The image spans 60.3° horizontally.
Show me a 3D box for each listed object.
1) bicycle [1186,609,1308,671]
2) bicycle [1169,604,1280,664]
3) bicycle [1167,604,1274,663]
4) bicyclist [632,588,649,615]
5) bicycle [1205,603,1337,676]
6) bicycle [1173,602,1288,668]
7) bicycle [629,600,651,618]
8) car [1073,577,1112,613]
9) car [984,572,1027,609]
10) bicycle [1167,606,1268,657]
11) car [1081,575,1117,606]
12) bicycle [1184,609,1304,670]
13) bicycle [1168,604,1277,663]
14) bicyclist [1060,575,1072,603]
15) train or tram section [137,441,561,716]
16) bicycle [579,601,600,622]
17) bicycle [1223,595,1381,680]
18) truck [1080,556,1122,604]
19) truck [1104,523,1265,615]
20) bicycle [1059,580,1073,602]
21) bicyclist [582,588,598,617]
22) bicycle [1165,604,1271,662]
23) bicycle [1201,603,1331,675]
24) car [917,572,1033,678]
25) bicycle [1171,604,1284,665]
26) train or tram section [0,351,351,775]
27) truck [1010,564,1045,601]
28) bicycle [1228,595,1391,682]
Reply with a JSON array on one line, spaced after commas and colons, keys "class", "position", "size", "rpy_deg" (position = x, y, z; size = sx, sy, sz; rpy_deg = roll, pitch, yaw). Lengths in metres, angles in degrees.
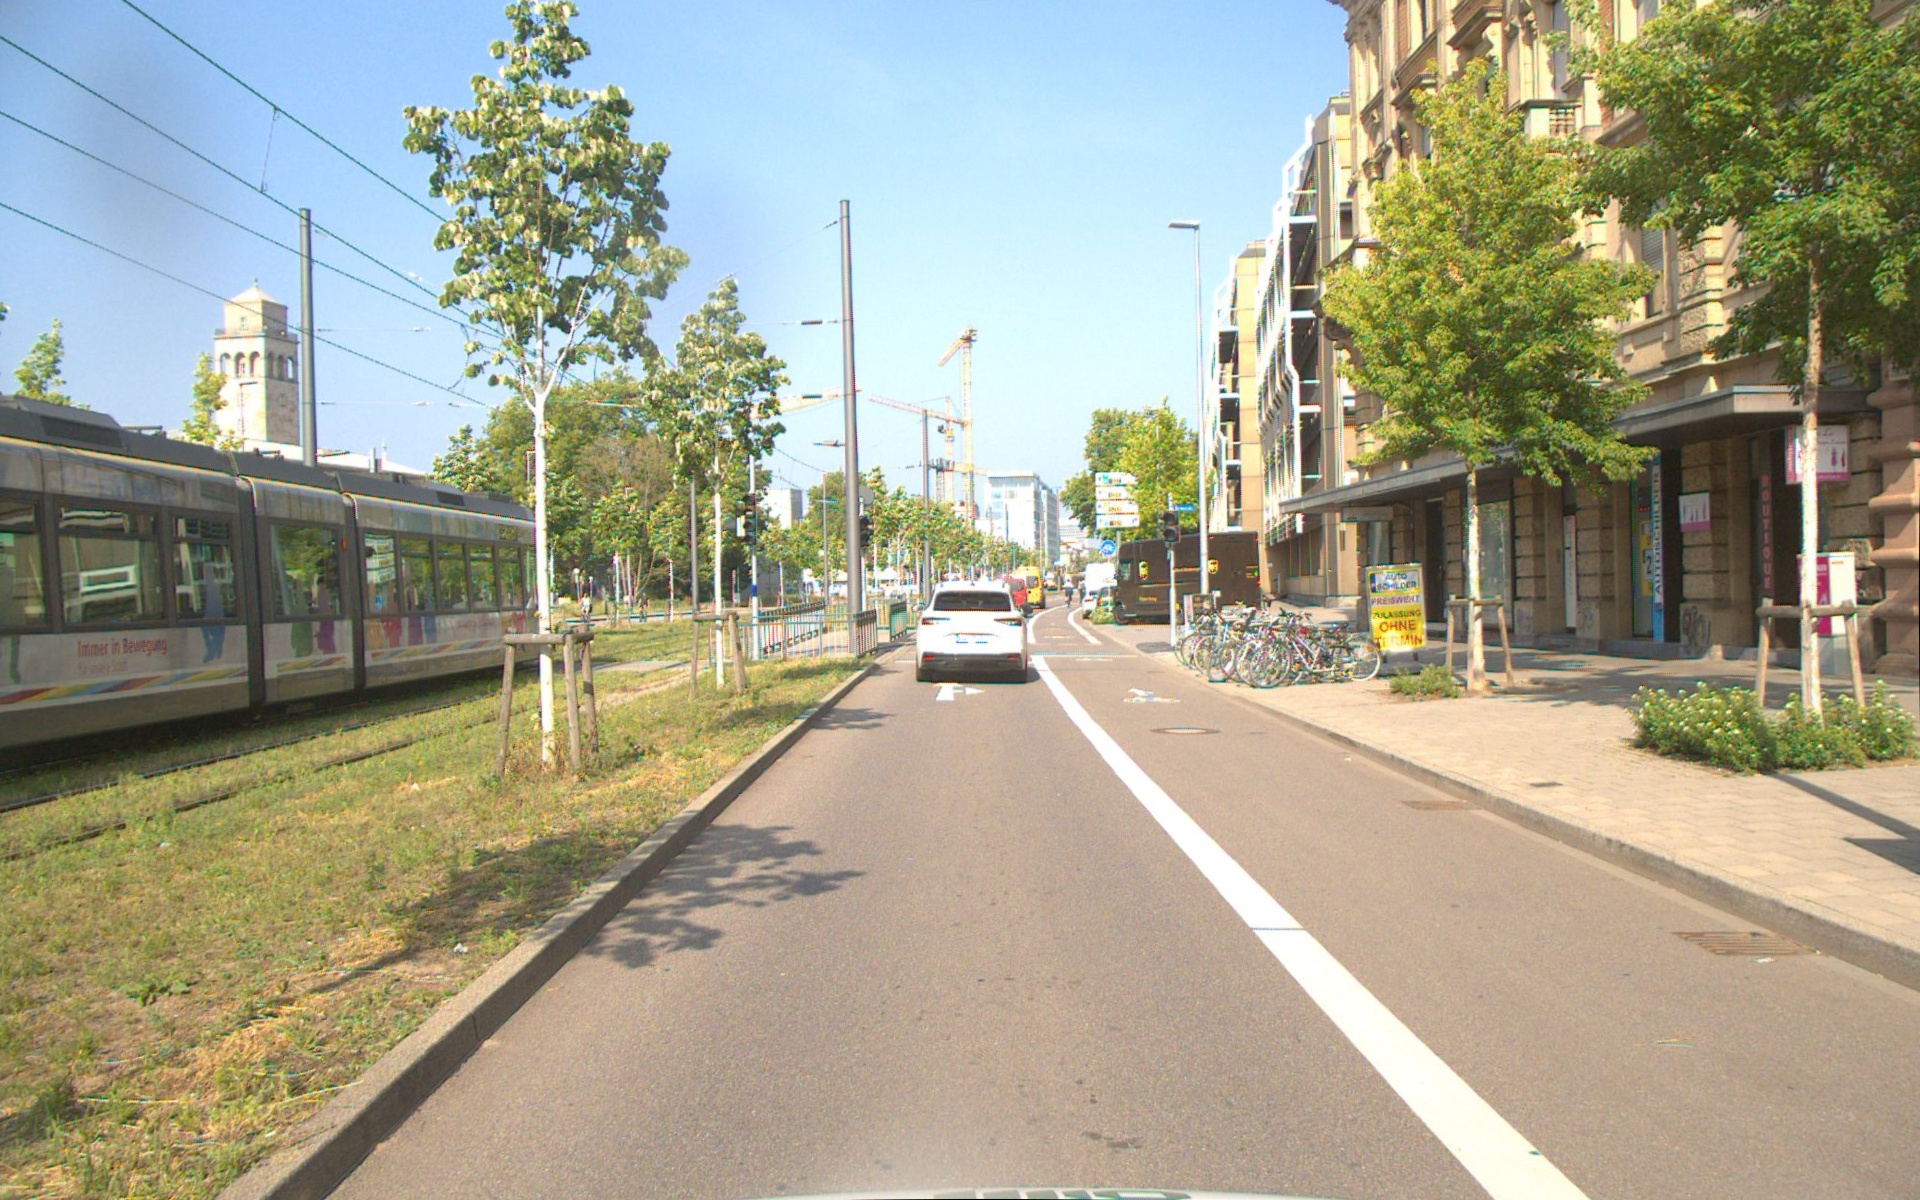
[{"class": "bicycle", "position": [4.716, 0.659, 27.234], "size": [1.895, 0.889, 0.440], "rpy_deg": [-3, 0, 0]}, {"class": "bicycle", "position": [4.763, 0.612, 29.814], "size": [1.894, 0.962, 0.441], "rpy_deg": [-3, 0, 3]}, {"class": "bicycle", "position": [4.818, 0.615, 30.641], "size": [1.894, 0.962, 0.429], "rpy_deg": [-3, 0, 3]}, {"class": "bicyclist", "position": [-18.530, 0.077, 95.981], "size": [0.681, 1.542, 1.186], "rpy_deg": [-1, 0, 0]}, {"class": "bicycle", "position": [4.798, 0.611, 25.554], "size": [1.895, 1.003, 0.471], "rpy_deg": [-3, 0, 0]}, {"class": "bicycle", "position": [4.723, 0.602, 28.887], "size": [1.894, 1.030, 0.441], "rpy_deg": [-3, 0, 3]}, {"class": "bicycle", "position": [-18.545, 0.511, 95.838], "size": [0.681, 1.008, 2.824], "rpy_deg": [-1, 1, 0]}, {"class": "car", "position": [5.874, -0.244, 72.976], "size": [1.615, 1.525, 3.529], "rpy_deg": [-1, 1, 6]}, {"class": "car", "position": [2.252, -0.493, 80.703], "size": [1.952, 1.713, 4.371], "rpy_deg": [-1, 1, 3]}, {"class": "bicycle", "position": [4.937, 0.602, 31.783], "size": [1.847, 0.878, 0.429], "rpy_deg": [-3, 0, 3]}, {"class": "car", "position": [6.535, -0.450, 77.420], "size": [1.615, 1.409, 3.529], "rpy_deg": [-1, 1, 6]}, {"class": "bicycle", "position": [4.742, 0.661, 27.678], "size": [1.895, 0.889, 0.440], "rpy_deg": [-3, 0, 0]}, {"class": "bicycle", "position": [4.783, 0.614, 30.197], "size": [1.894, 0.962, 0.429], "rpy_deg": [-3, 0, 3]}, {"class": "bicyclist", "position": [7.358, -0.781, 114.713], "size": [0.694, 1.929, 0.843], "rpy_deg": [-1, 0, 0]}, {"class": "train or tram section", "position": [-9.794, -0.297, 28.632], "size": [2.839, 3.649, 12.223], "rpy_deg": [-2, 0, -1]}, {"class": "bicycle", "position": [-18.683, 0.570, 83.319], "size": [0.527, 0.975, 1.918], "rpy_deg": [-1, 1, 3]}, {"class": "bicycle", "position": [5.091, 0.549, 24.652], "size": [2.193, 1.123, 0.519], "rpy_deg": [-3, 0, 0]}, {"class": "truck", "position": [7.744, -1.077, 91.164], "size": [1.952, 2.552, 4.000], "rpy_deg": [-1, 1, 0]}, {"class": "truck", "position": [7.844, -1.052, 58.651], "size": [2.476, 3.064, 6.911], "rpy_deg": [-1, 1, -23]}, {"class": "bicycle", "position": [7.352, -0.635, 114.875], "size": [0.765, 1.522, 2.800], "rpy_deg": [-1, 1, 0]}, {"class": "bicyclist", "position": [-18.679, 0.112, 83.431], "size": [0.527, 1.447, 0.900], "rpy_deg": [-1, 0, 2]}, {"class": "bicycle", "position": [4.849, 0.617, 31.106], "size": [1.894, 0.962, 0.429], "rpy_deg": [-3, 0, 3]}, {"class": "bicycle", "position": [4.812, 0.612, 26.034], "size": [1.915, 1.003, 0.471], "rpy_deg": [-3, 0, 0]}, {"class": "car", "position": [0.183, 0.373, 27.830], "size": [1.780, 1.617, 4.405], "rpy_deg": [0, 0, -2]}, {"class": "bicycle", "position": [4.742, 0.611, 29.334], "size": [1.894, 0.962, 0.441], "rpy_deg": [-3, 0, 3]}, {"class": "train or tram section", "position": [-9.695, -0.288, 16.025], "size": [2.839, 3.649, 12.932], "rpy_deg": [-2, 0, -1]}, {"class": "truck", "position": [4.515, -1.186, 111.613], "size": [2.167, 2.358, 5.890], "rpy_deg": [-1, 1, 0]}, {"class": "bicycle", "position": [5.079, 0.548, 24.097], "size": [2.193, 1.123, 0.588], "rpy_deg": [-3, 0, 0]}]
